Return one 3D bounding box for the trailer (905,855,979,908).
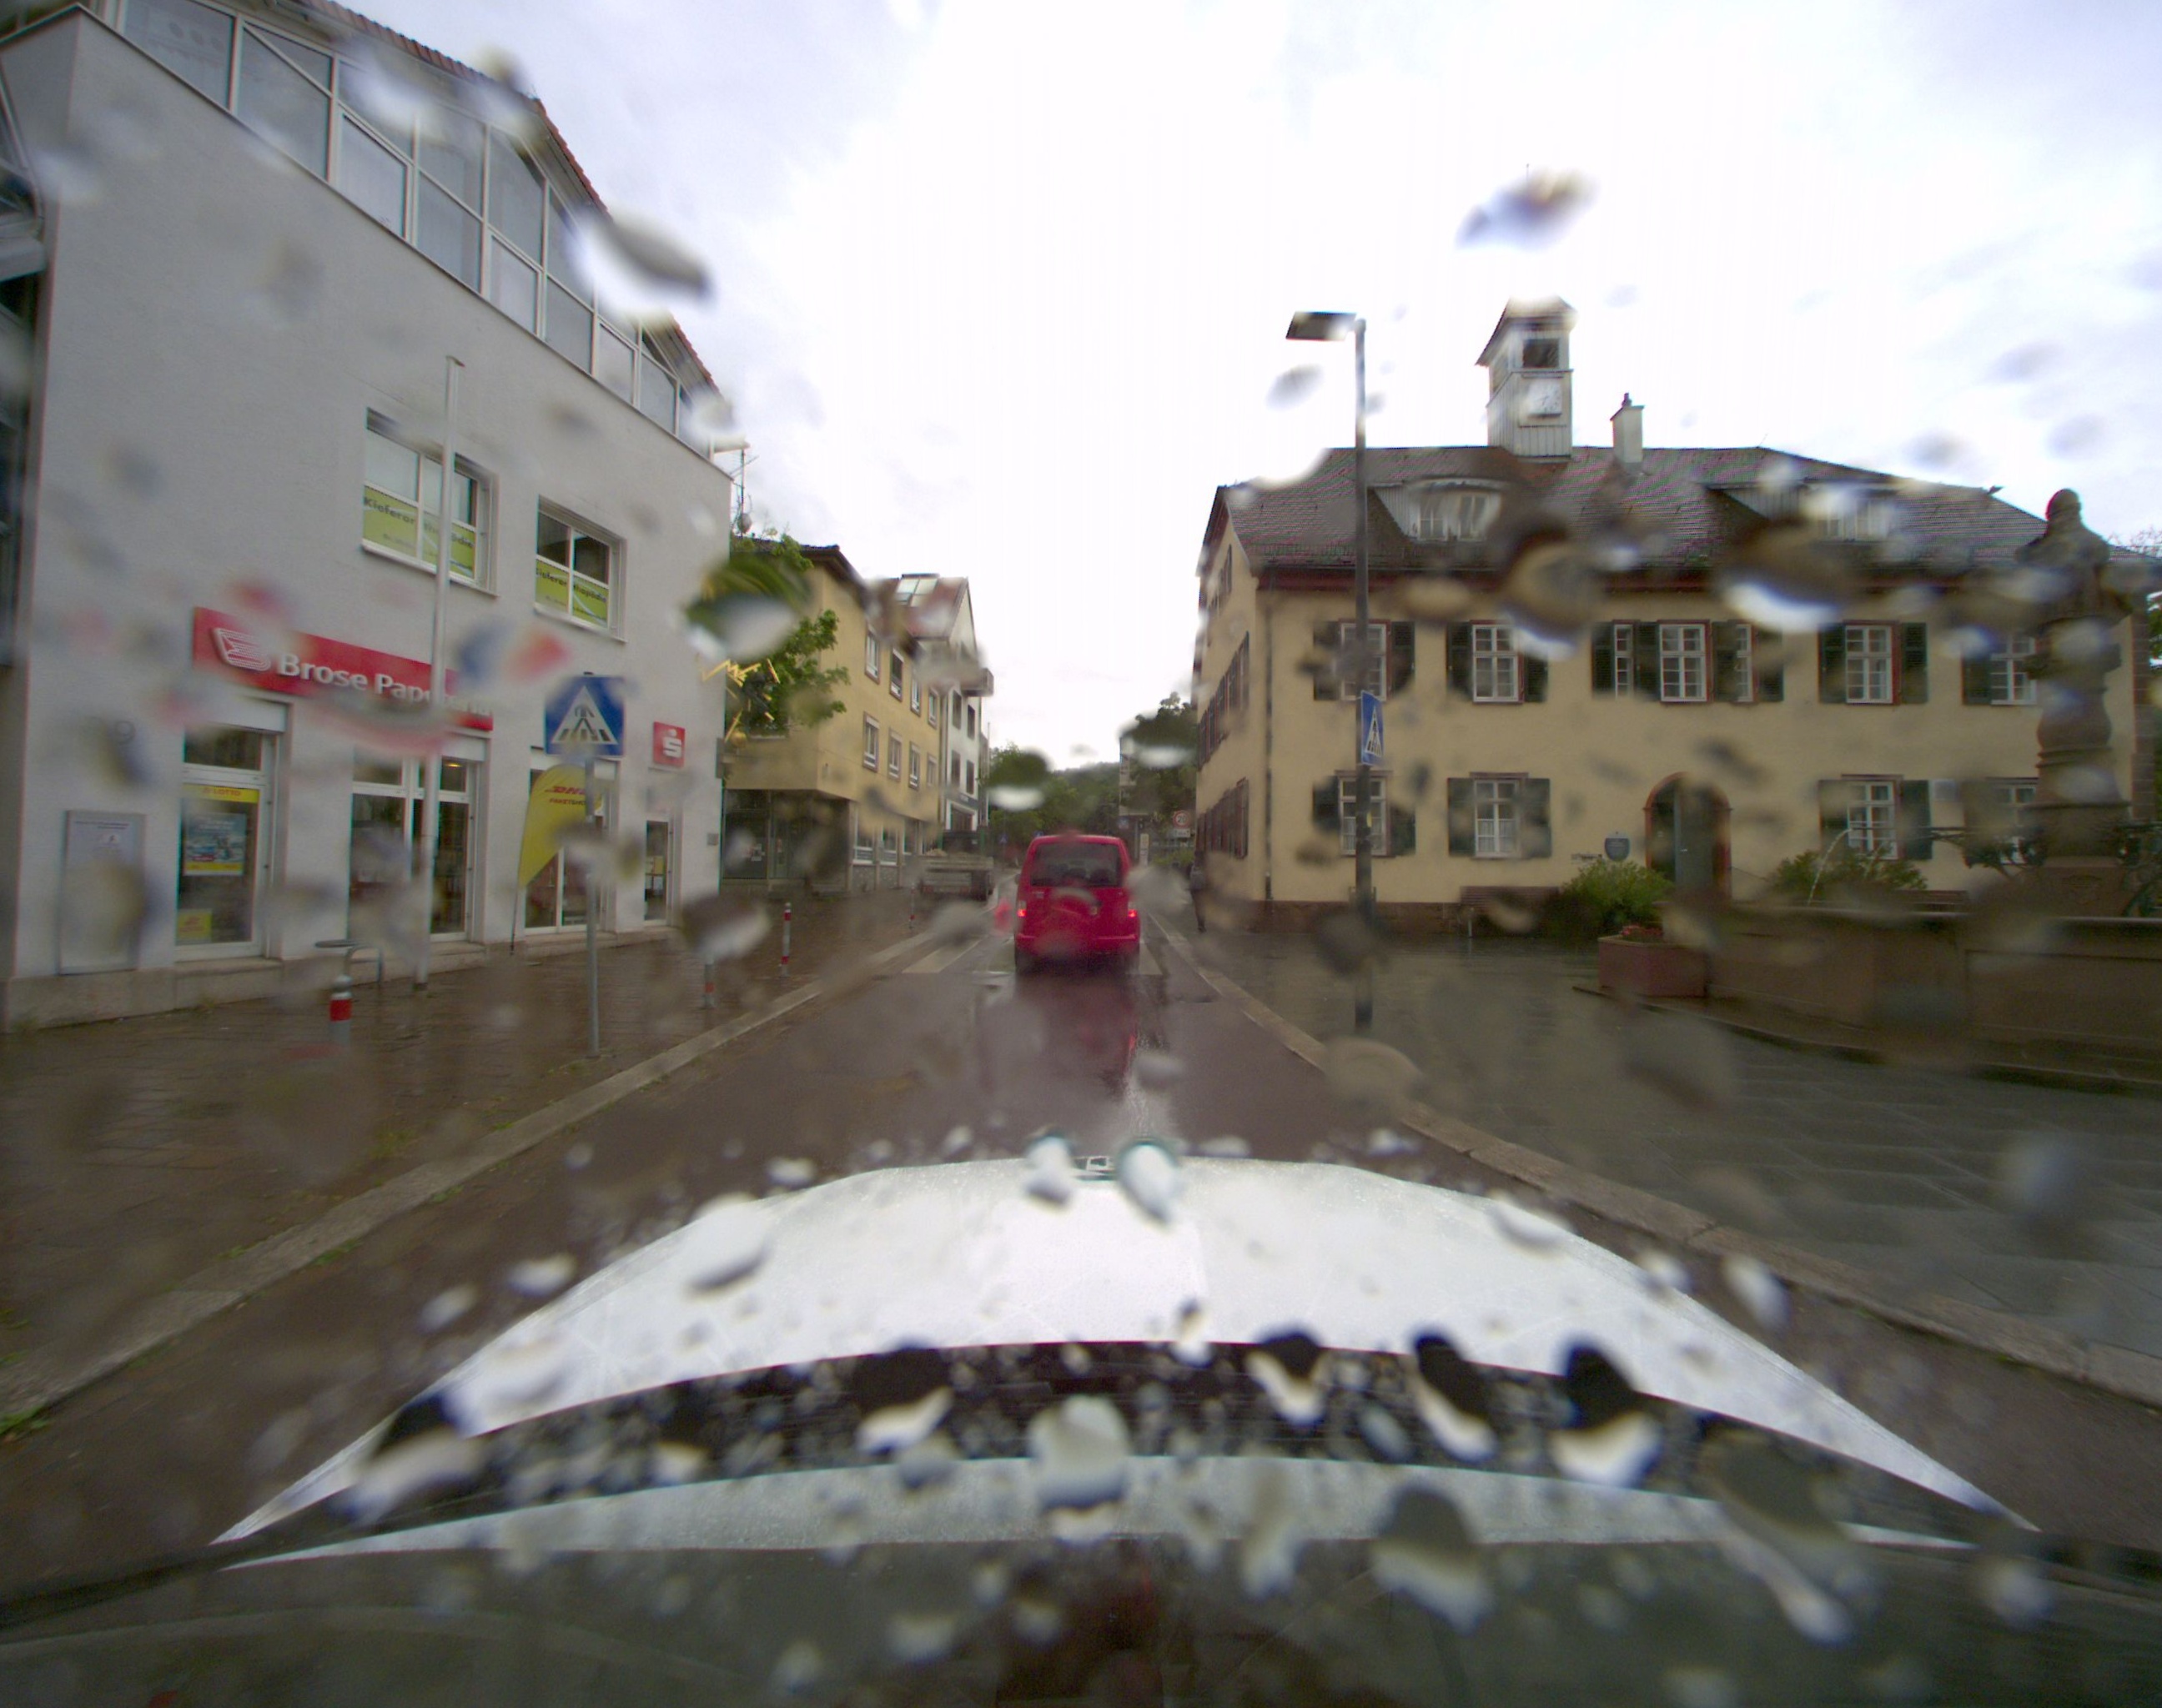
[{"bbox_3d":[-3.930,0.742,23.444,1.724,1.346,3.157,0,1,-3],"label":"trailer"}]

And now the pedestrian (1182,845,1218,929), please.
[{"bbox_3d":[2.465,0.660,16.827,0.709,1.693,0.870,0,0,11],"label":"pedestrian"}]

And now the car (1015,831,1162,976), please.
[{"bbox_3d":[0.025,0.641,12.500,1.857,1.830,4.181,-1,0,-2],"label":"car"}]

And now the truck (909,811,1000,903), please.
[{"bbox_3d":[-4.197,0.033,28.294,2.468,2.795,6.592,0,1,-3],"label":"truck"}]

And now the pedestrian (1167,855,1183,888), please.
[{"bbox_3d":[4.563,0.853,39.642,0.725,1.617,0.694,0,-1,4],"label":"pedestrian"}]
